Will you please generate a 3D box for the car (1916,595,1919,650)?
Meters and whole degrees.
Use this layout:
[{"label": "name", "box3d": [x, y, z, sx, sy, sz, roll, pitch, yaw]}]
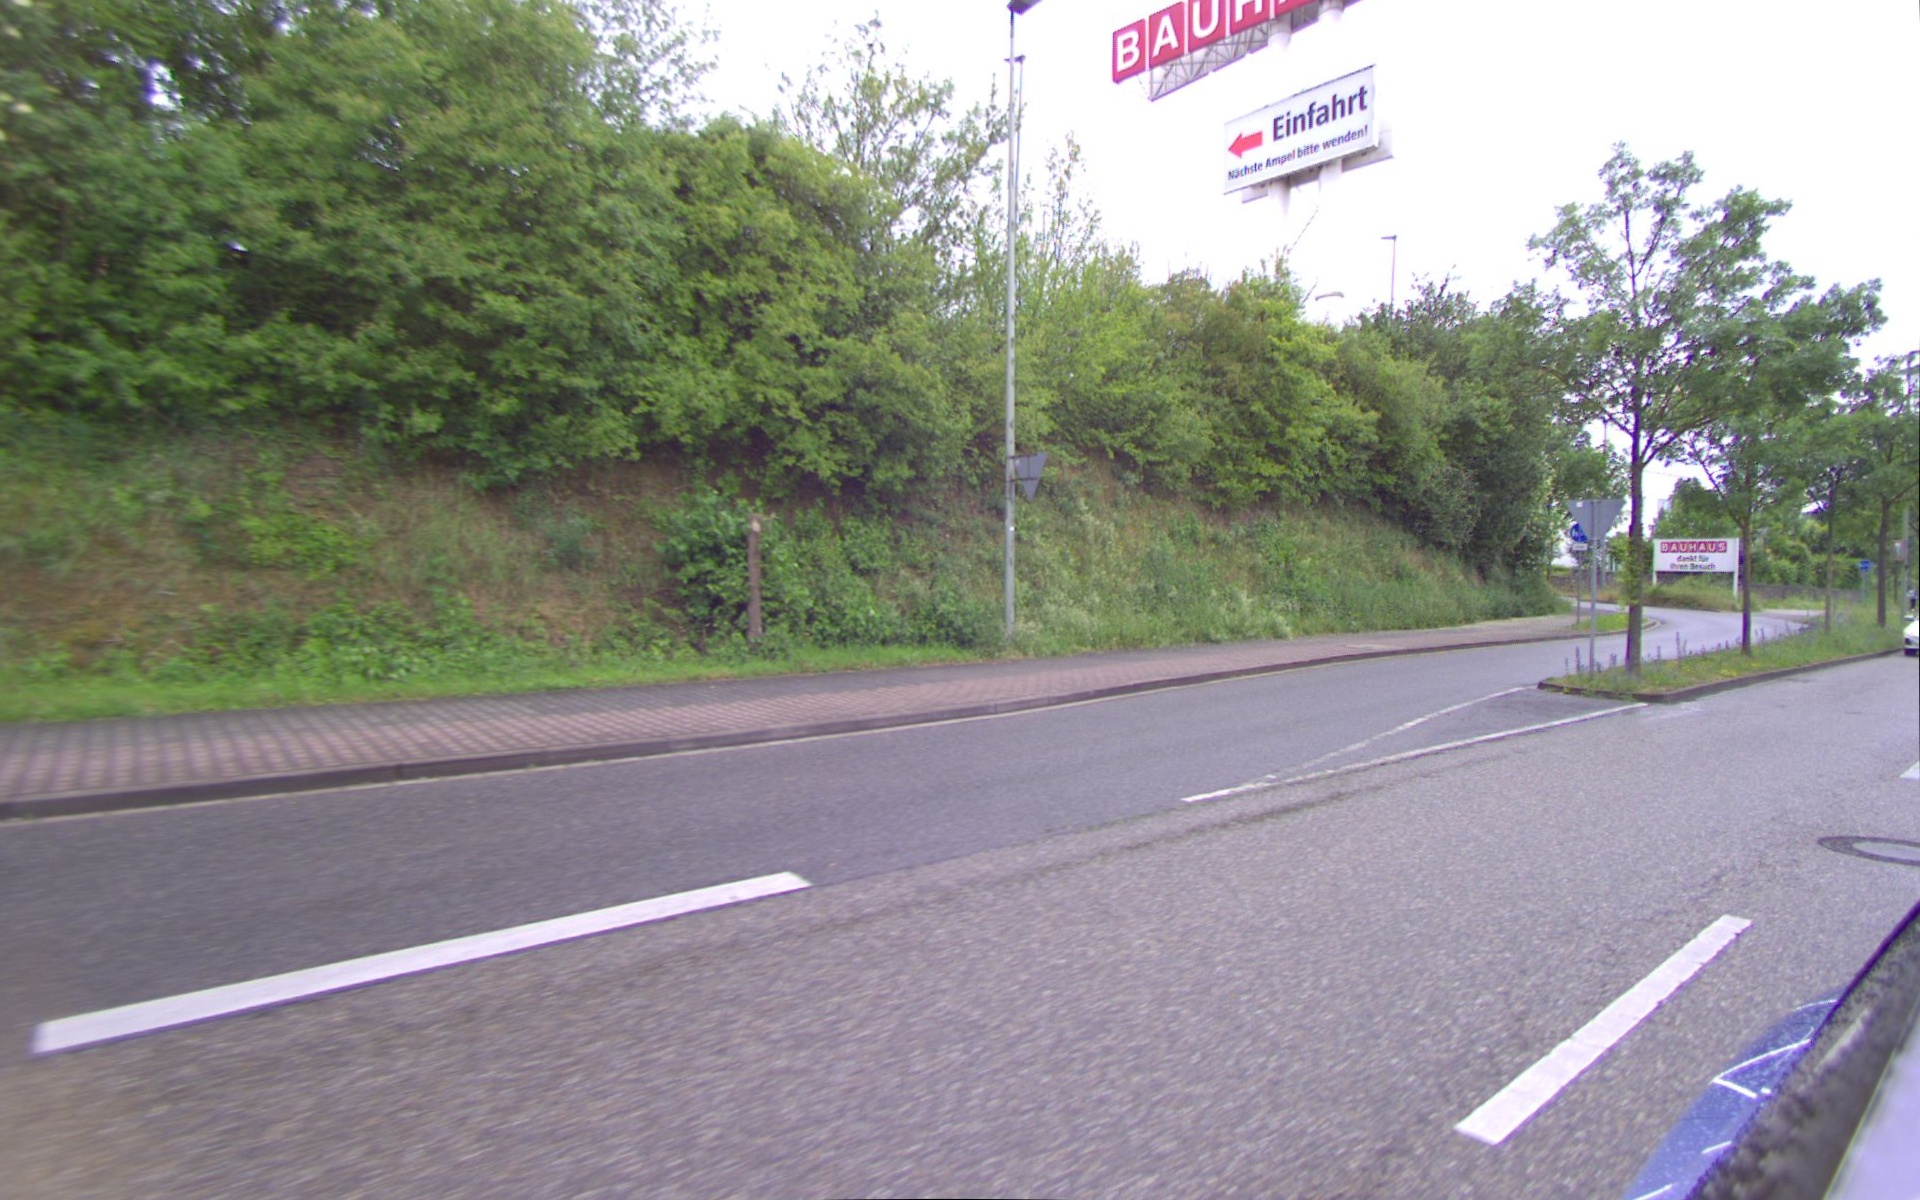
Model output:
[{"label": "car", "box3d": [28.372, 0.611, 28.319, 3.928, 1.500, 1.864, 0, 1, -39]}]
